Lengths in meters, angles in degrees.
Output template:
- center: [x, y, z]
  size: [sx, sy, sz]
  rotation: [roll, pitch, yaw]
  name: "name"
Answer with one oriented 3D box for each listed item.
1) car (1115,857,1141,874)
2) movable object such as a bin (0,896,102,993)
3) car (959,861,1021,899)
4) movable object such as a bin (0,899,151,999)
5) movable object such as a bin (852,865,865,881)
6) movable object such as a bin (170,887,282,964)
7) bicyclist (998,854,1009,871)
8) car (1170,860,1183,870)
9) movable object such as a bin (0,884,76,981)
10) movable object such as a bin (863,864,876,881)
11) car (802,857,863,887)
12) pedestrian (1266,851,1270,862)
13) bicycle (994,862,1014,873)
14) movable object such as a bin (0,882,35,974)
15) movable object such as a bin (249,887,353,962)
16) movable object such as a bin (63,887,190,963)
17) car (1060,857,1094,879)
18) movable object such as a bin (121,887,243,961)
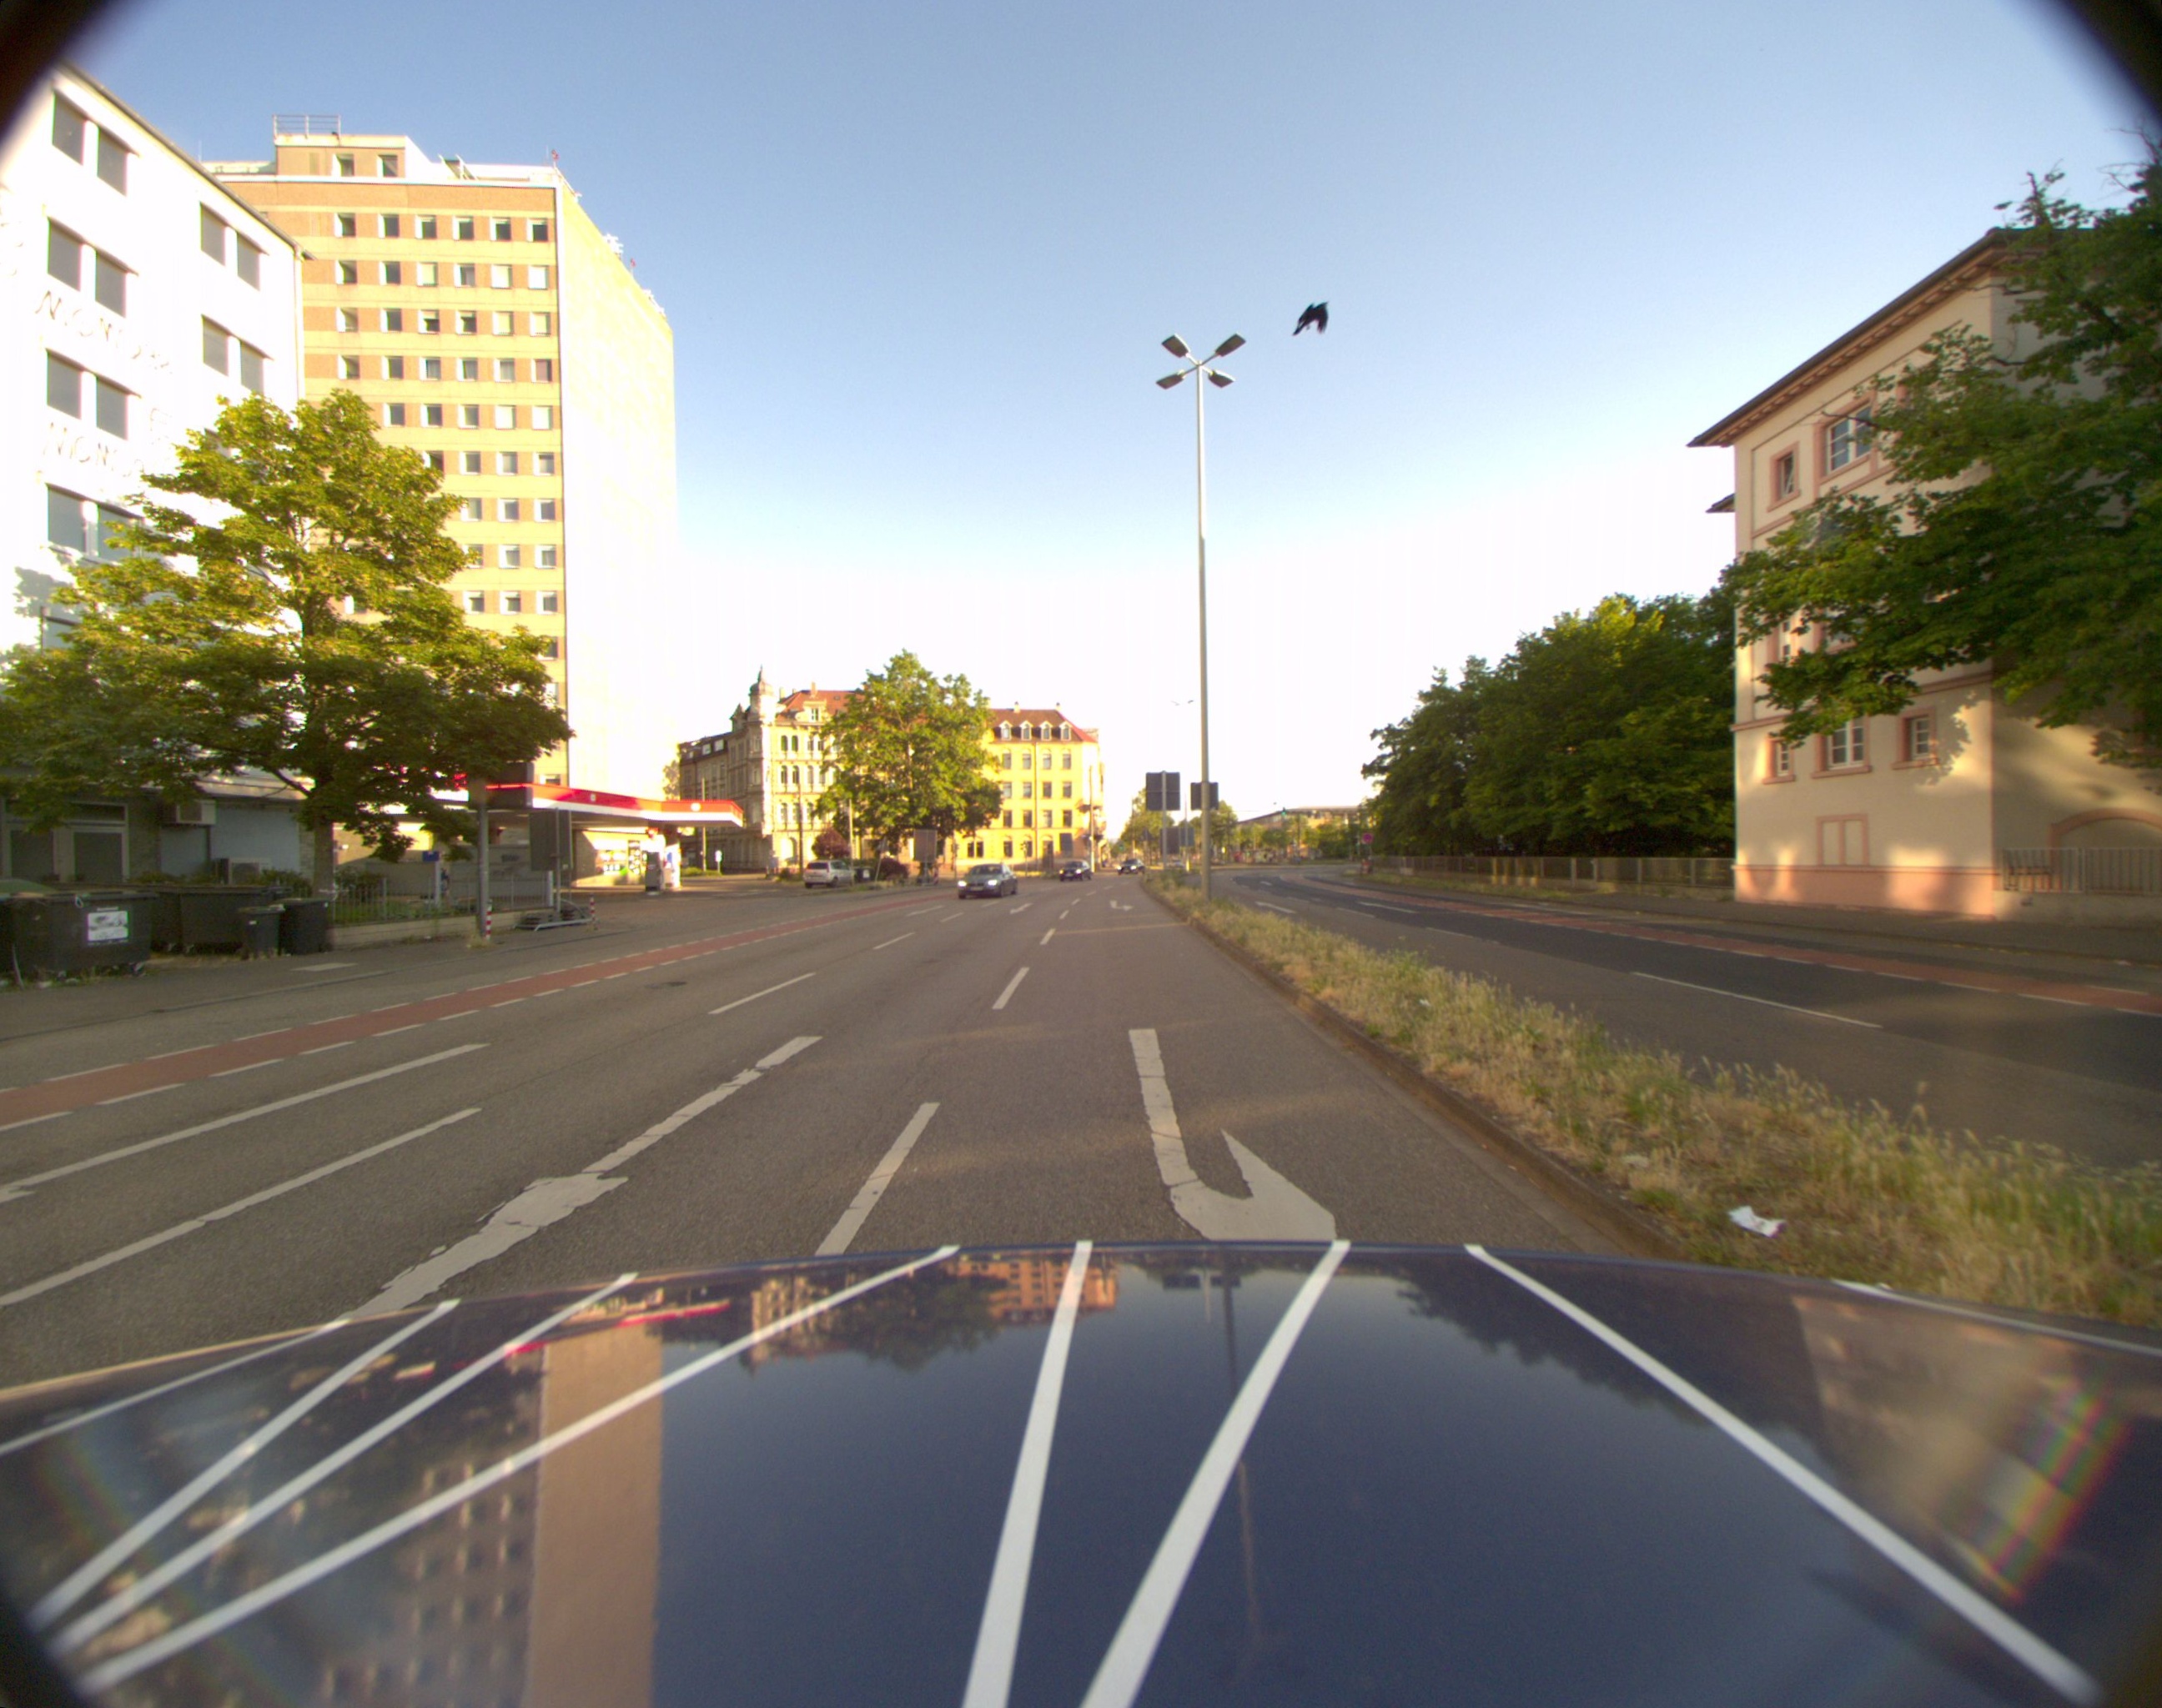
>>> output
- center: [4.327, 1.045, 69.768]
  size: [1.730, 1.440, 4.049]
  rotation: [-2, 0, 12]
  name: "car"
- center: [-16.040, 1.338, 11.480]
  size: [0.956, 1.320, 1.162]
  rotation: [-1, 1, -2]
  name: "movable object such as a bin"
- center: [-3.907, 1.090, 33.317]
  size: [1.819, 1.440, 4.668]
  rotation: [-2, 0, 4]
  name: "car"
- center: [-14.925, 1.364, 11.198]
  size: [0.956, 1.320, 1.162]
  rotation: [-1, 1, -2]
  name: "movable object such as a bin"
- center: [-13.789, 1.178, 47.147]
  size: [0.544, 1.013, 0.688]
  rotation: [-1, 1, 6]
  name: "movable object such as a bin"
- center: [-15.844, 1.305, 14.108]
  size: [0.956, 1.320, 0.954]
  rotation: [-1, 1, -2]
  name: "movable object such as a bin"
- center: [-7.655, 0.837, 75.200]
  size: [1.065, 1.639, 0.732]
  rotation: [-1, 1, -6]
  name: "bicyclist"
- center: [14.699, 1.654, 116.801]
  size: [1.673, 1.410, 4.443]
  rotation: [-2, 0, 9]
  name: "car"
- center: [-17.124, 1.231, 11.950]
  size: [1.034, 1.440, 1.162]
  rotation: [-1, 1, -2]
  name: "movable object such as a bin"
- center: [-13.068, 1.163, 46.935]
  size: [0.544, 1.013, 0.688]
  rotation: [-1, 1, 6]
  name: "movable object such as a bin"
- center: [-13.884, 0.991, 42.659]
  size: [1.688, 1.508, 3.798]
  rotation: [-1, 1, 8]
  name: "car"
- center: [34.364, 0.466, 139.824]
  size: [0.556, 2.002, 0.664]
  rotation: [-1, 1, 1]
  name: "pedestrian"
- center: [-7.616, 1.292, 75.115]
  size: [1.927, 1.053, 0.451]
  rotation: [-1, 1, -7]
  name: "bicycle"
- center: [-18.305, 1.230, 12.311]
  size: [1.034, 1.490, 1.162]
  rotation: [-1, 1, -2]
  name: "movable object such as a bin"
- center: [-14.874, 1.318, 14.518]
  size: [0.956, 1.320, 0.954]
  rotation: [-1, 1, -2]
  name: "movable object such as a bin"
- center: [-17.924, 1.311, 14.305]
  size: [0.956, 1.320, 1.098]
  rotation: [-1, 1, -2]
  name: "movable object such as a bin"
- center: [-0.257, 0.978, 54.704]
  size: [1.583, 1.440, 3.876]
  rotation: [-2, 0, 13]
  name: "car"
- center: [-16.927, 1.290, 14.347]
  size: [0.956, 1.276, 1.098]
  rotation: [-1, 1, -2]
  name: "movable object such as a bin"
